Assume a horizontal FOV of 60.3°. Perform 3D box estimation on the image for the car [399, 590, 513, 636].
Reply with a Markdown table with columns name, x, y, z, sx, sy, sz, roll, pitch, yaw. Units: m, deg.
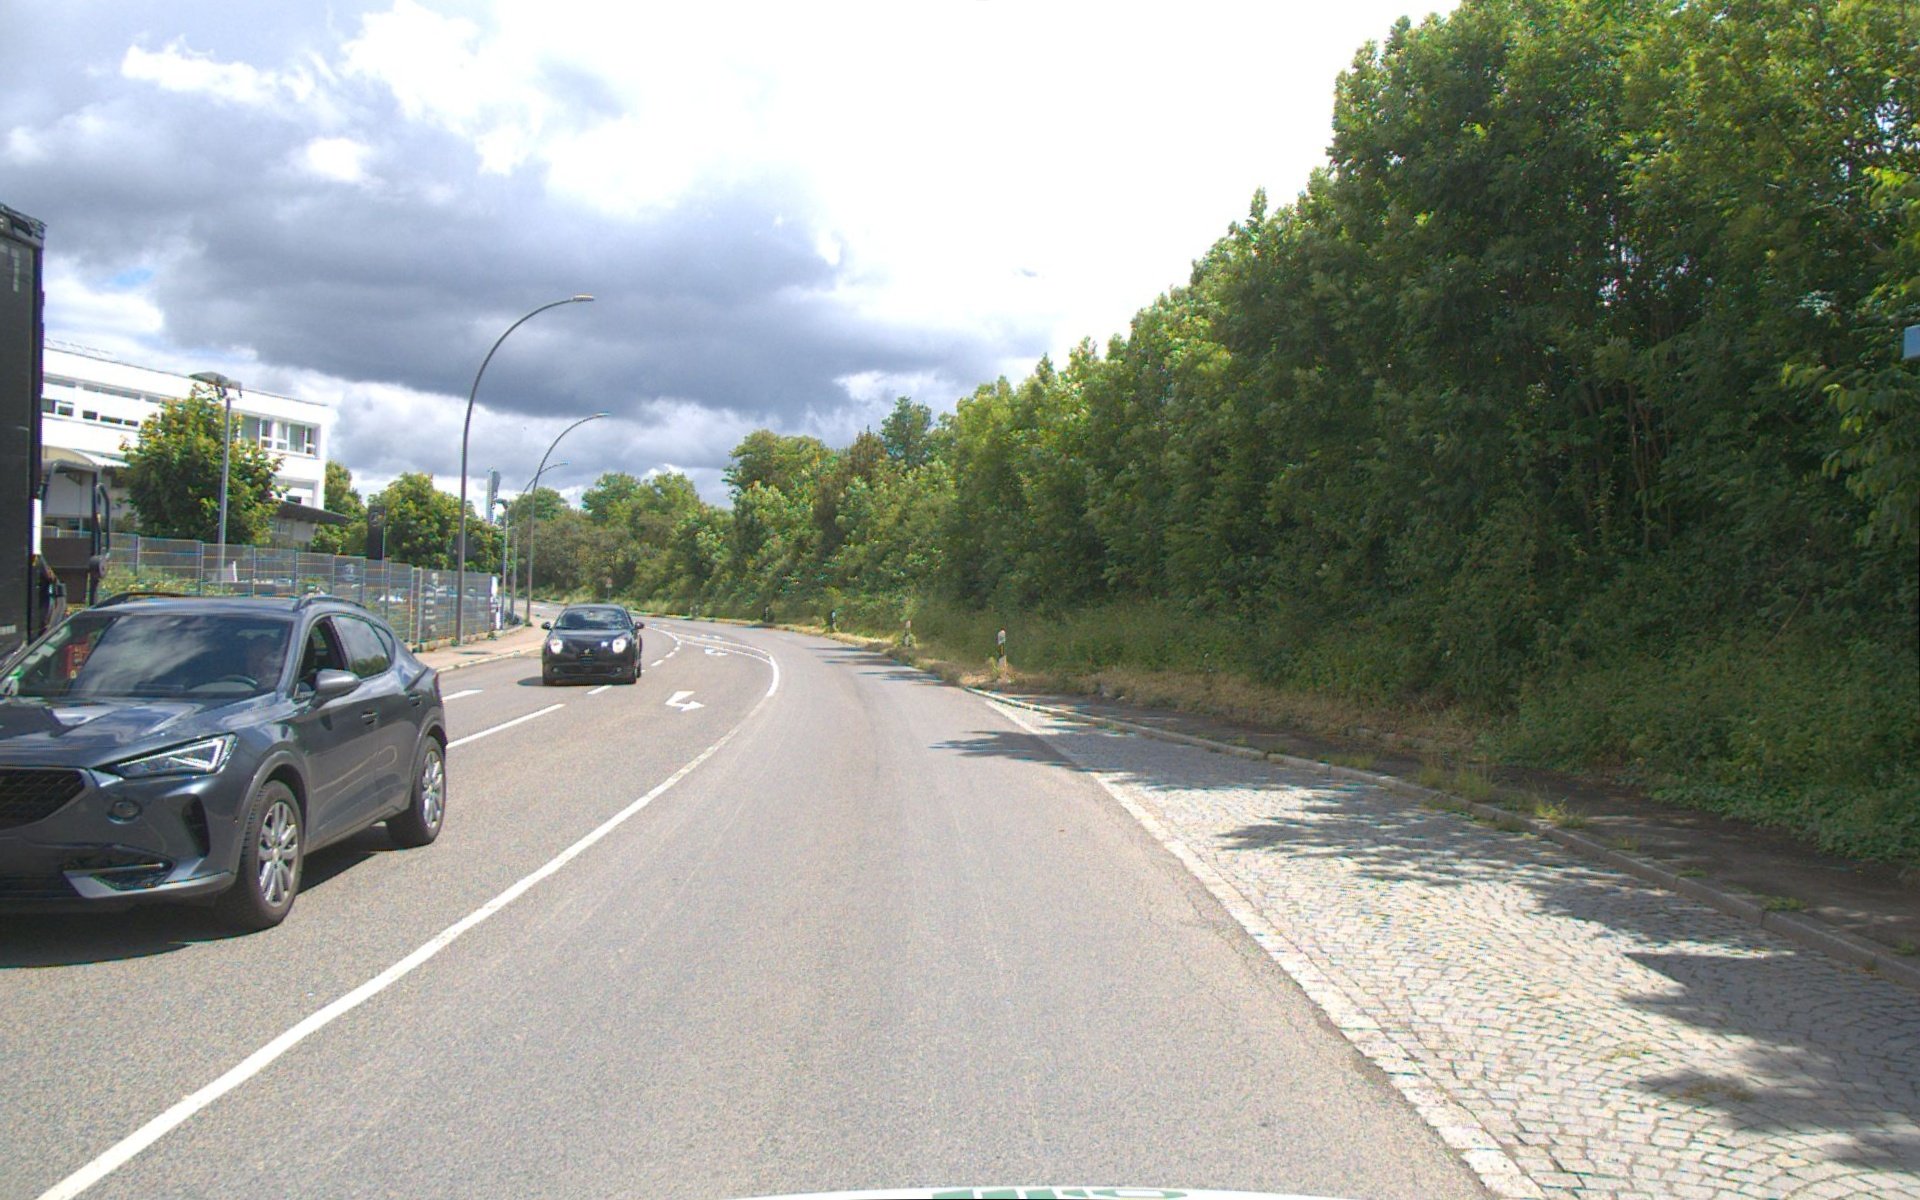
| name | x | y | z | sx | sy | sz | roll | pitch | yaw |
| --- | --- | --- | --- | --- | --- | --- | --- | --- | --- |
| car | -20.834 | 0.553 | 68.401 | 3.891 | 1.730 | 2.174 | 2 | -1 | 18 |

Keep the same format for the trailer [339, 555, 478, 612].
| name | x | y | z | sx | sy | sz | roll | pitch | yaw |
| --- | --- | --- | --- | --- | --- | --- | --- | --- | --- |
| trailer | -41.691 | -1.214 | 125.261 | 9.633 | 4.165 | 2.793 | 0 | 0 | -33 |

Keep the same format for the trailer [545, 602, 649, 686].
| name | x | y | z | sx | sy | sz | roll | pitch | yaw |
| --- | --- | --- | --- | --- | --- | --- | --- | --- | --- |
| trailer | -6.790 | 0.782 | 31.239 | 1.616 | 1.448 | 3.992 | 1 | 0 | -8 |

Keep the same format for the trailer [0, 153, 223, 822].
| name | x | y | z | sx | sy | sz | roll | pitch | yaw |
| --- | --- | --- | --- | --- | --- | --- | --- | --- | --- |
| trailer | -7.364 | -0.771 | 5.288 | 2.741 | 4.124 | 15.556 | 2 | -1 | 1 |

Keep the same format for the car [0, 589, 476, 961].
| name | x | y | z | sx | sy | sz | roll | pitch | yaw |
| --- | --- | --- | --- | --- | --- | --- | --- | --- | --- |
| car | -3.993 | 0.713 | 8.748 | 1.803 | 1.489 | 4.250 | 0 | 0 | -3 |

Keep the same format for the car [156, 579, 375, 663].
| name | x | y | z | sx | sy | sz | roll | pitch | yaw |
| --- | --- | --- | --- | --- | --- | --- | --- | --- | --- |
| car | -16.025 | 0.486 | 38.360 | 4.109 | 1.730 | 2.171 | 2 | -1 | -5 |
